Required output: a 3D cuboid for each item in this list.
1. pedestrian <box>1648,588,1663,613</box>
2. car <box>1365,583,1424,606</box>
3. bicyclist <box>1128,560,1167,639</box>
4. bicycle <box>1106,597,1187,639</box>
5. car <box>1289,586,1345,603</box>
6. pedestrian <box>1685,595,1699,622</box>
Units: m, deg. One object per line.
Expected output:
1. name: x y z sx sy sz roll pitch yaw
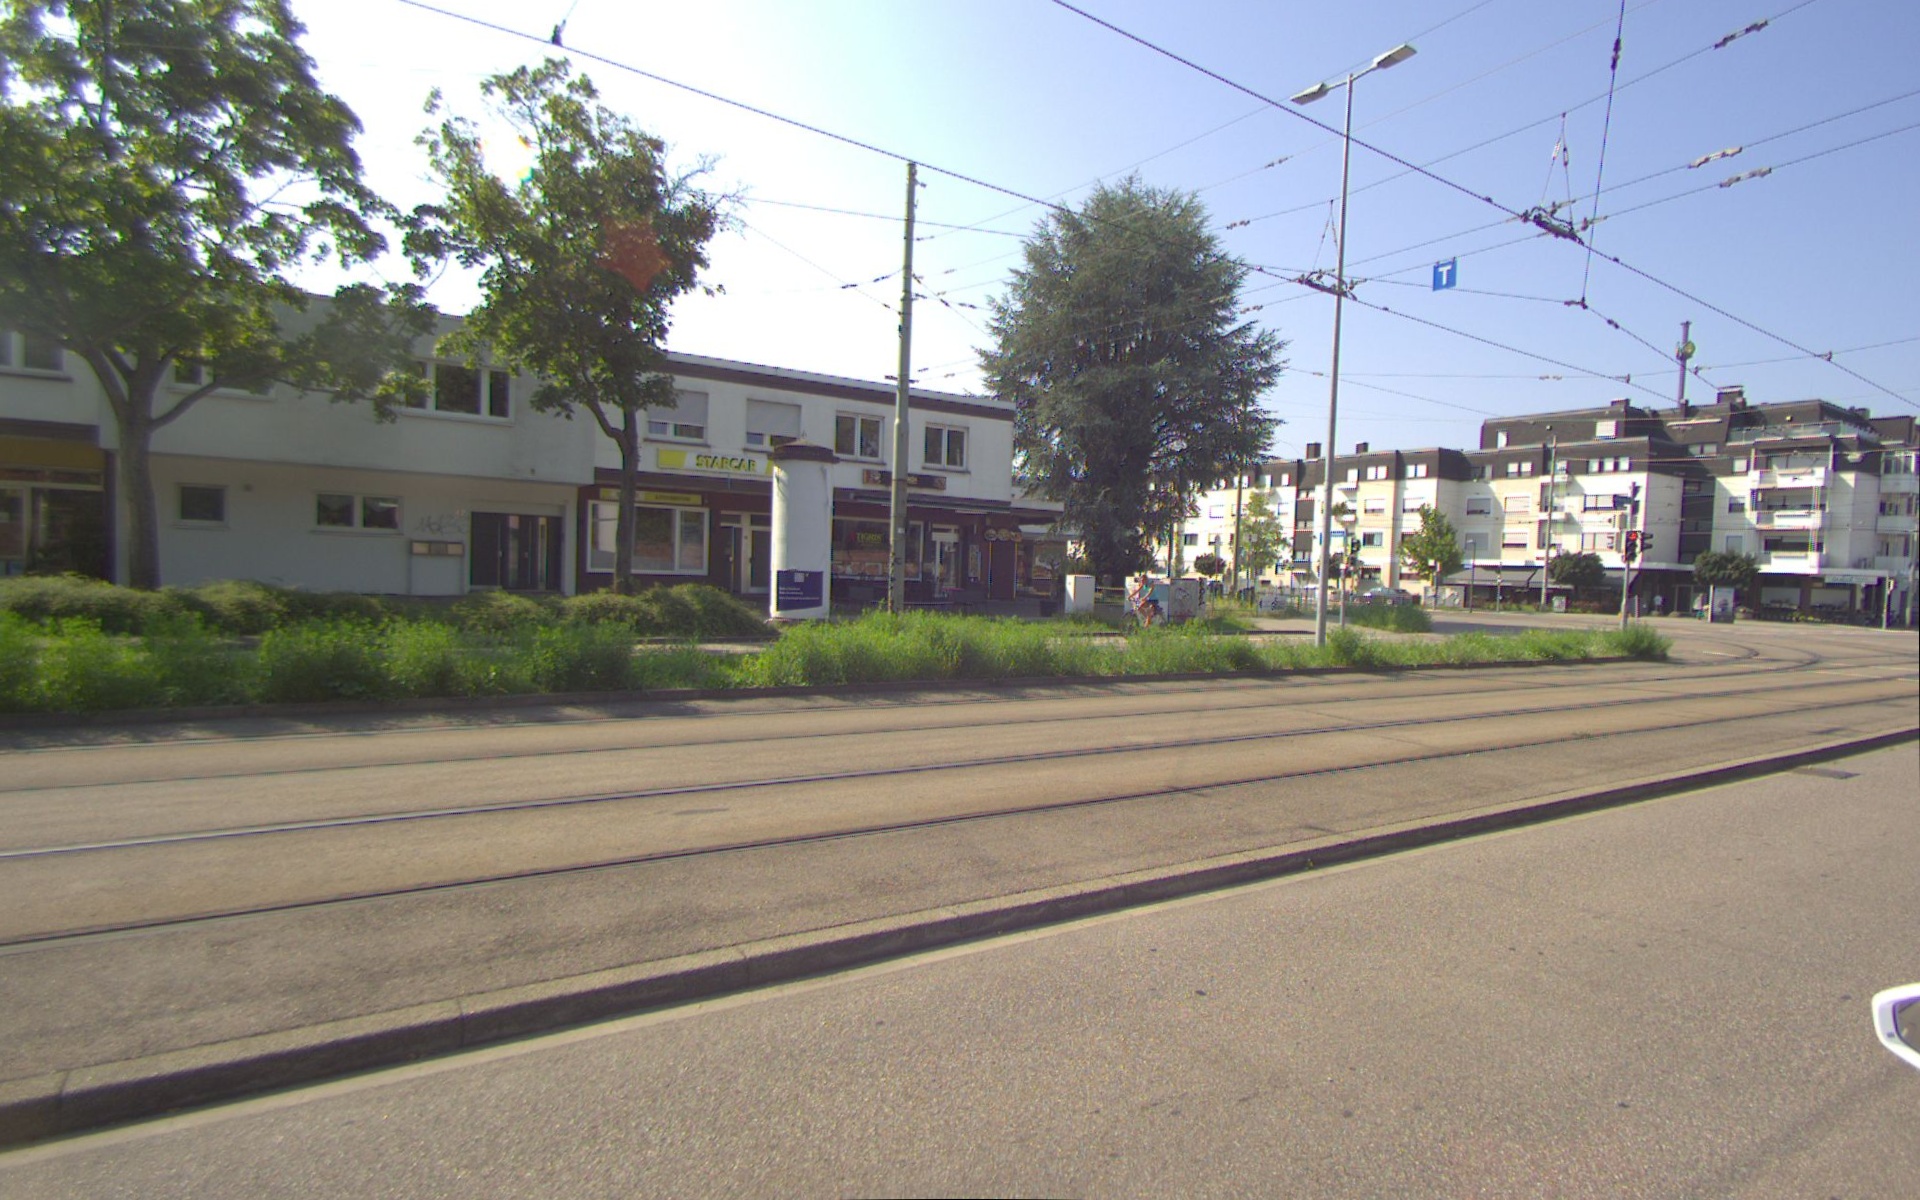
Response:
1. pedestrian: 49.501 0.047 71.480 0.690 1.764 0.676 1 1 -32
2. car: 35.778 -0.472 82.793 1.910 1.527 4.083 1 3 -34
3. bicyclist: 5.058 -0.001 27.161 0.766 2.092 0.634 1 1 -32
4. bicycle: 5.063 0.487 27.189 2.239 1.106 0.711 1 0 -30
5. car: 28.884 -0.452 81.334 1.656 1.317 4.083 1 0 -34
6. pedestrian: 48.718 0.590 66.844 0.588 1.768 0.566 2 1 23
